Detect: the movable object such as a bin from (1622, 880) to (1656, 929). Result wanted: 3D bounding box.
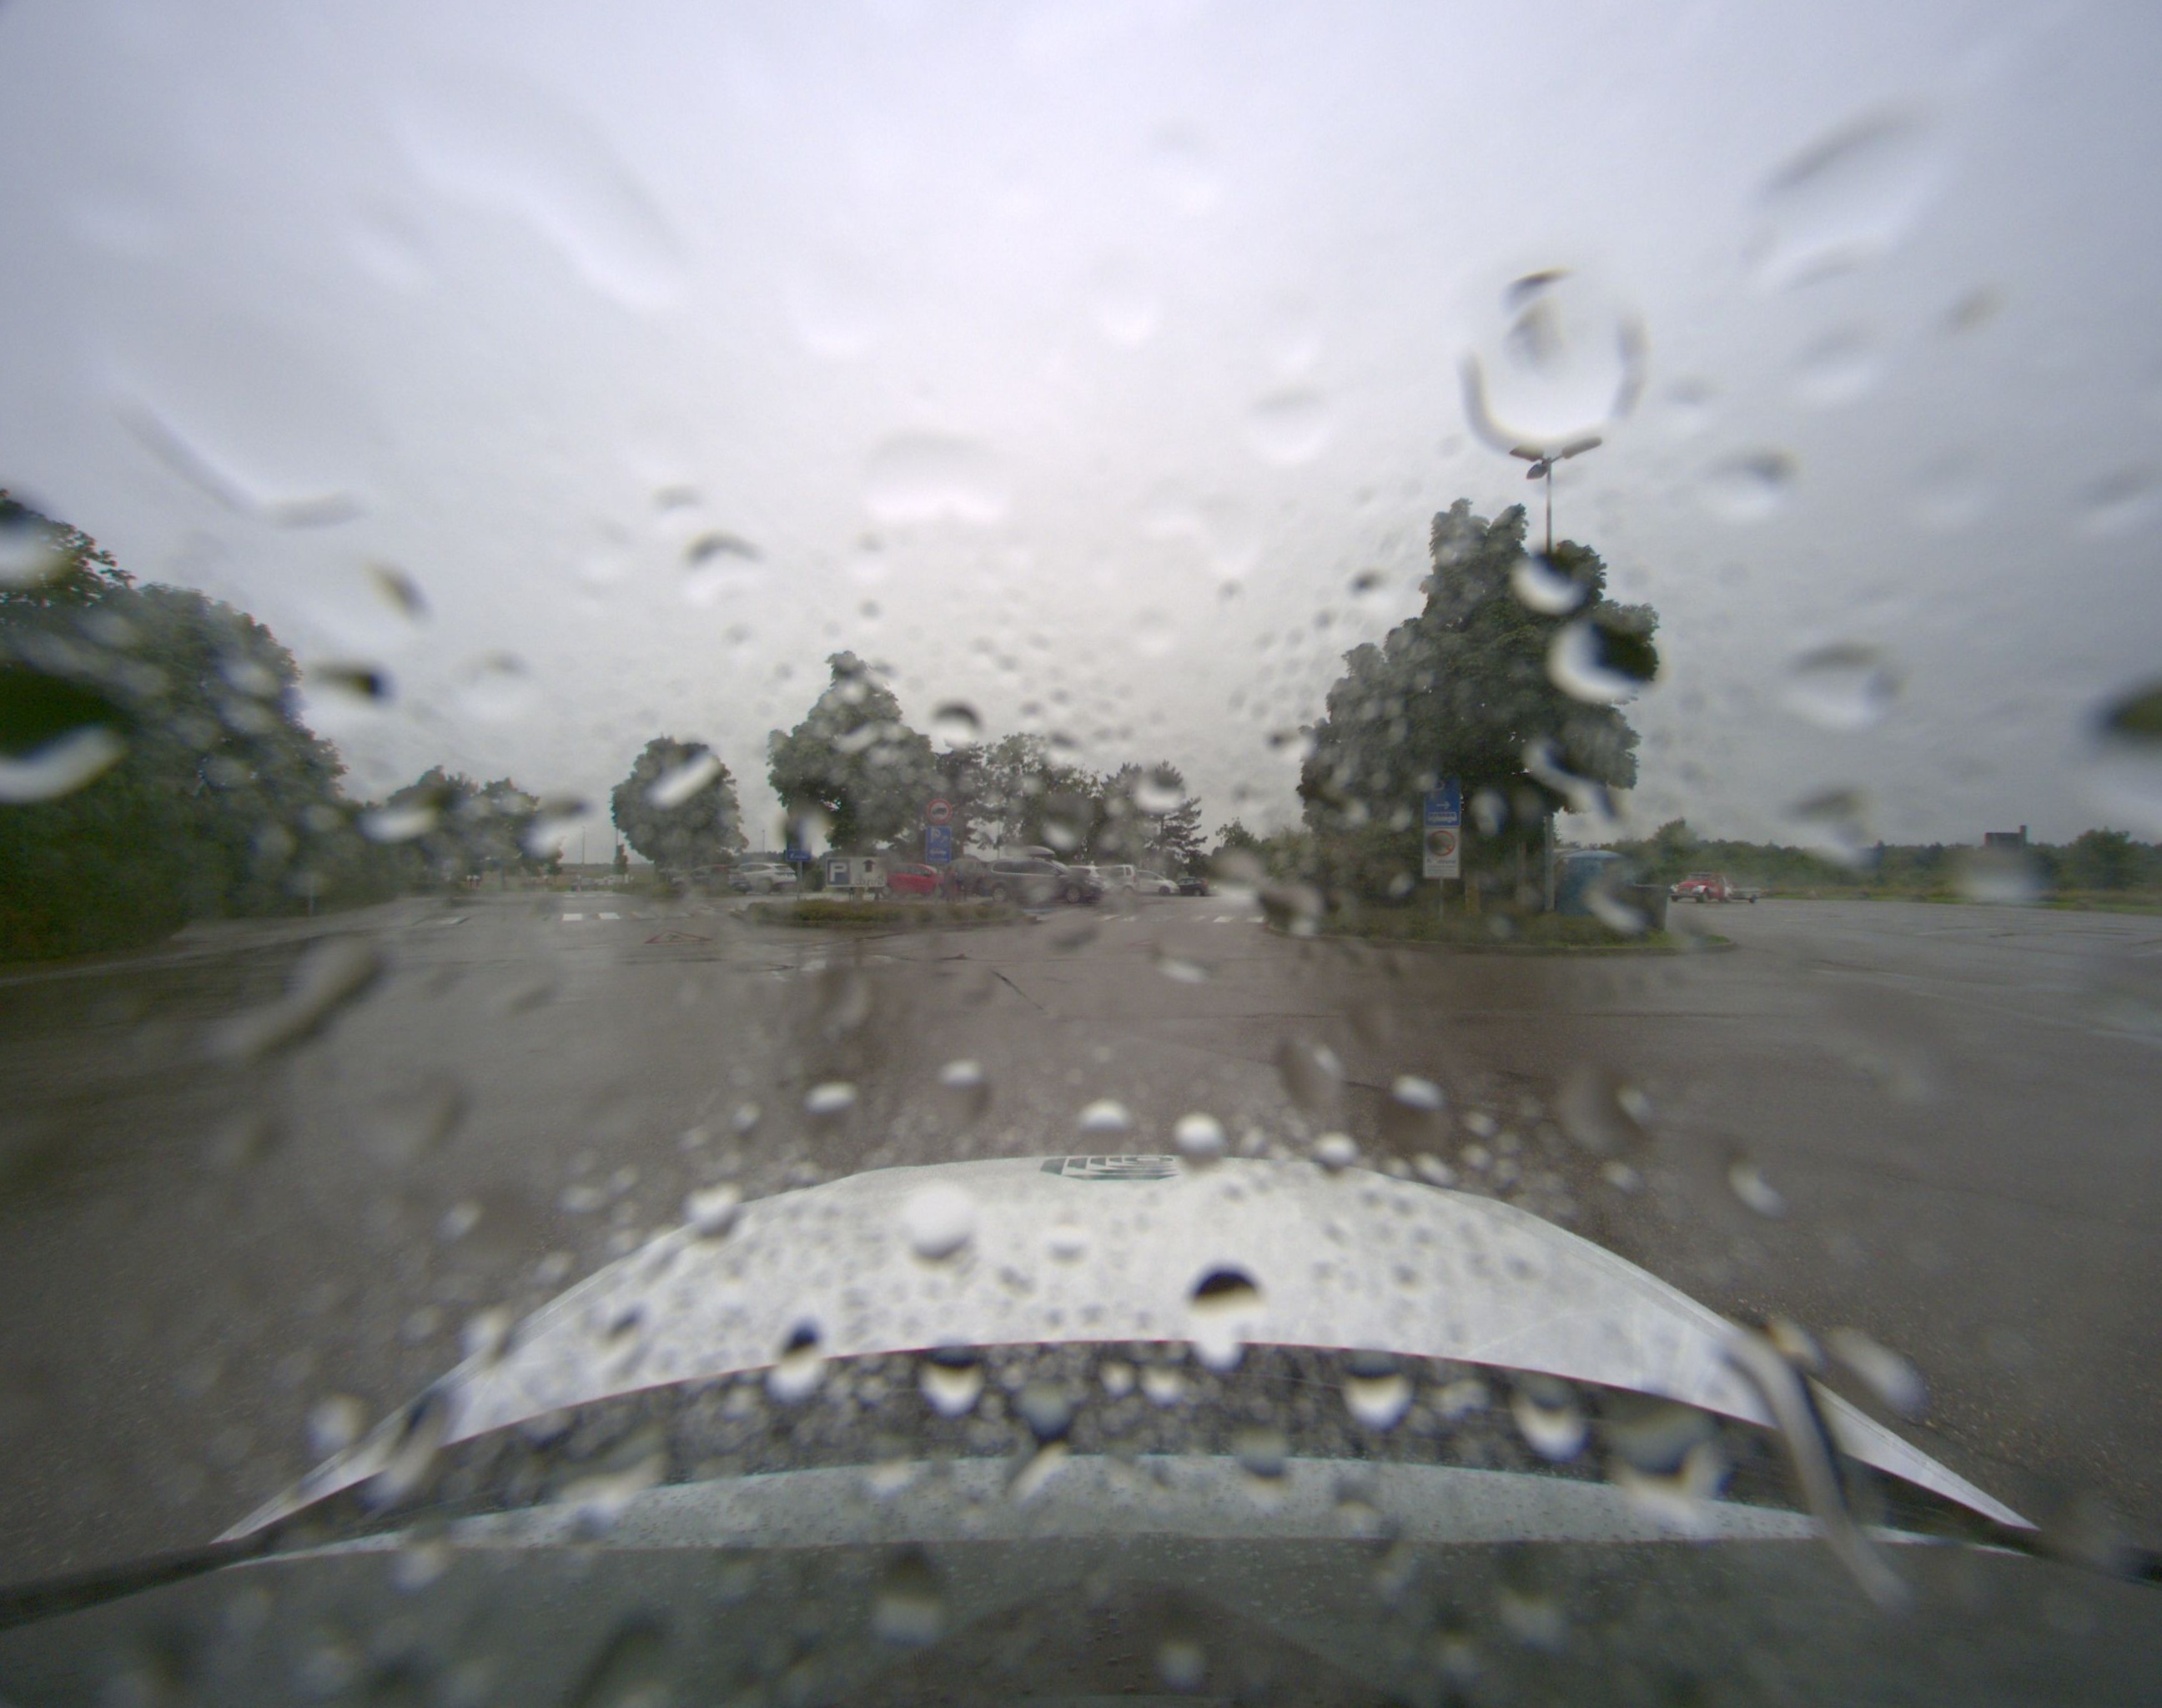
[{"bbox_3d":[11.233,1.003,16.398,0.452,0.948,0.401,1,0,-32],"label":"movable object such as a bin"}]

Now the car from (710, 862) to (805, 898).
[{"bbox_3d":[-16.880,1.373,42.565,4.324,1.862,1.726,0,-3,13],"label":"car"}]

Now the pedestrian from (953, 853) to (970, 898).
[{"bbox_3d":[-4.673,0.858,31.771,0.609,1.725,0.681,2,-3,-11],"label":"pedestrian"}]

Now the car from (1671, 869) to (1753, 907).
[{"bbox_3d":[31.073,1.691,40.103,4.011,1.777,1.811,2,-2,-30],"label":"car"}]

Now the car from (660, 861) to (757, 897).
[{"bbox_3d":[-18.177,1.240,39.779,3.985,1.716,1.726,0,-3,13],"label":"car"}]

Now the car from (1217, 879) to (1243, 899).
[{"bbox_3d":[10.515,2.482,57.379,1.634,1.370,4.012,0,-3,12],"label":"car"}]

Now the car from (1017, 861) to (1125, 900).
[{"bbox_3d":[-0.398,1.078,34.094,4.153,1.517,1.750,0,0,14],"label":"car"}]

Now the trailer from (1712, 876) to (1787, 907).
[{"bbox_3d":[34.563,1.913,42.094,4.011,1.533,1.684,2,-2,-30],"label":"trailer"}]

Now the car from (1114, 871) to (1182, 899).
[{"bbox_3d":[4.554,2.085,54.826,4.324,1.862,1.857,0,-3,13],"label":"car"}]

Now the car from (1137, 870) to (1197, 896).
[{"bbox_3d":[6.648,2.208,62.667,4.324,1.862,1.857,0,-2,13],"label":"car"}]

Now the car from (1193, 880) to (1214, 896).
[{"bbox_3d":[11.050,3.058,73.198,1.634,1.370,3.825,0,-3,12],"label":"car"}]

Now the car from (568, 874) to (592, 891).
[{"bbox_3d":[-61.610,3.526,100.212,1.709,2.014,3.972,2,-3,-20],"label":"car"}]

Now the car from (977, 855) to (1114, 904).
[{"bbox_3d":[-1.337,0.973,31.544,4.901,1.792,2.007,0,-1,13],"label":"car"}]

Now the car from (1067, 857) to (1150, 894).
[{"bbox_3d":[1.436,1.127,42.110,3.982,1.862,1.857,0,-3,13],"label":"car"}]

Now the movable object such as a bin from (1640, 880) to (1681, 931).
[{"bbox_3d":[11.291,0.994,15.876,0.471,0.949,0.434,1,0,-9],"label":"movable object such as a bin"}]

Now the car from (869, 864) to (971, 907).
[{"bbox_3d":[-7.068,1.368,35.844,3.982,1.792,1.857,0,-1,13],"label":"car"}]

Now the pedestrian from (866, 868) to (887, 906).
[{"bbox_3d":[-7.407,1.200,29.499,0.646,1.362,0.448,3,-4,-27],"label":"pedestrian"}]

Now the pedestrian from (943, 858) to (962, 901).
[{"bbox_3d":[-4.910,0.987,31.081,0.713,1.639,0.644,0,-3,-9],"label":"pedestrian"}]
